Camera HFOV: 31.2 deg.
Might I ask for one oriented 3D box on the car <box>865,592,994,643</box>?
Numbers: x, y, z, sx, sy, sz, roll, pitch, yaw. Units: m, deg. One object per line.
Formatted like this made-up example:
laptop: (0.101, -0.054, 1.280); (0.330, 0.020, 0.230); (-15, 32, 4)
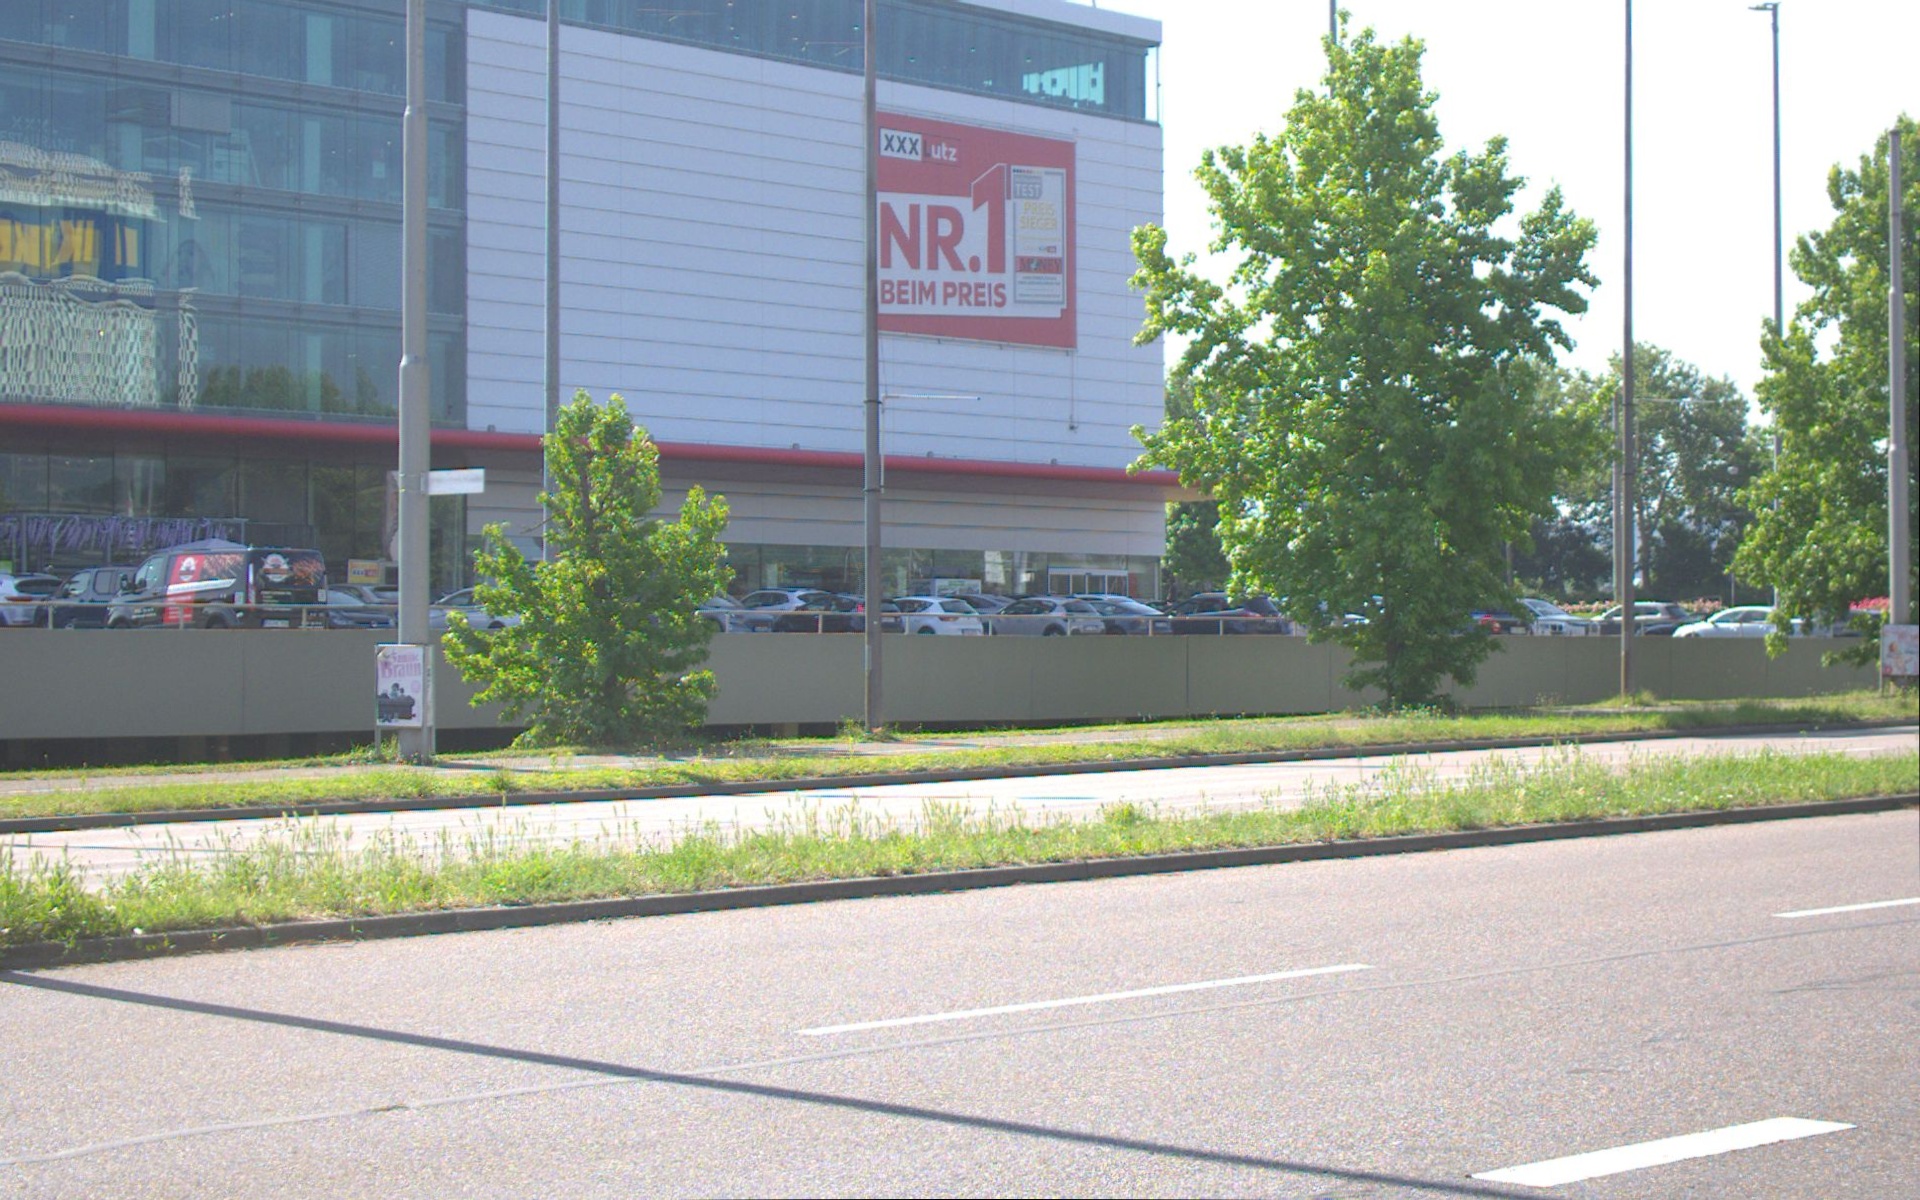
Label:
car: (-0.816, 0.470, 91.092); (3.095, 1.325, 1.700); (-1, -2, 42)

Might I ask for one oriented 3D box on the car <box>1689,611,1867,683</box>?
car: (24.175, 1.394, 101.656); (4.680, 2.007, 2.025); (-2, -1, 40)

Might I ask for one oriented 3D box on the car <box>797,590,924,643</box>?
car: (-2.589, 0.443, 89.291); (3.095, 1.325, 1.512); (-1, -2, 42)

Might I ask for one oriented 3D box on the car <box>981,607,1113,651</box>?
car: (2.366, 0.801, 94.373); (3.507, 1.195, 1.477); (-1, -2, 42)

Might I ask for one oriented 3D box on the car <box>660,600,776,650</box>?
car: (-6.538, 0.683, 92.712); (3.142, 1.325, 1.298); (-1, -2, 42)

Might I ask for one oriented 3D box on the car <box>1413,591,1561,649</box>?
car: (9.782, 0.373, 63.881); (2.519, 1.056, 1.068); (0, -2, 41)

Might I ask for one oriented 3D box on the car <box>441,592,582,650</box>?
car: (-10.440, 0.495, 79.960); (3.222, 1.325, 1.512); (-1, -2, 42)

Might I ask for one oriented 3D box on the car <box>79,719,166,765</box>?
car: (-18.574, 3.149, 76.225); (1.941, 0.972, 0.919); (0, -2, 41)

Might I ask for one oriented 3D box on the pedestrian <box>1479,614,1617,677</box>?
pedestrian: (19.267, 1.508, 112.655); (3.986, 2.007, 2.000); (1, -1, -16)

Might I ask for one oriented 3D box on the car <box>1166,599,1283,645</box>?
car: (7.649, 0.639, 99.475); (3.095, 1.289, 1.512); (-1, -2, 42)

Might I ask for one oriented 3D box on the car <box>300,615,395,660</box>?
car: (-13.565, 0.825, 76.086); (1.941, 0.972, 1.069); (-1, -1, 41)

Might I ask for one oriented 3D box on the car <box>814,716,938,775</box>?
car: (-1.465, 2.525, 59.954); (1.941, 0.972, 1.068); (0, -2, 41)

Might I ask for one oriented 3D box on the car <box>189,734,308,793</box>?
car: (-12.431, 2.846, 60.028); (1.941, 0.972, 1.068); (0, -2, 41)

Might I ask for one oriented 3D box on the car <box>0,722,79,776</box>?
car: (-17.887, 2.849, 65.793); (1.941, 0.972, 1.068); (0, -2, 41)

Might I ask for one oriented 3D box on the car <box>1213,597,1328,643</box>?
car: (9.146, 0.604, 101.375); (3.095, 1.325, 1.512); (-1, -2, 42)

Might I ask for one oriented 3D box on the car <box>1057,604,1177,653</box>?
car: (4.400, 0.801, 96.350); (3.095, 1.325, 1.512); (-1, -2, 42)

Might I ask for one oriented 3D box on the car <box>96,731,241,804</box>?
car: (-11.399, 2.398, 49.492); (1.941, 0.972, 1.068); (0, -2, 41)

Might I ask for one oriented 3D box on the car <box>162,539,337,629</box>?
car: (-12.791, -0.285, 61.872); (2.773, 1.551, 1.770); (-1, -1, 42)
